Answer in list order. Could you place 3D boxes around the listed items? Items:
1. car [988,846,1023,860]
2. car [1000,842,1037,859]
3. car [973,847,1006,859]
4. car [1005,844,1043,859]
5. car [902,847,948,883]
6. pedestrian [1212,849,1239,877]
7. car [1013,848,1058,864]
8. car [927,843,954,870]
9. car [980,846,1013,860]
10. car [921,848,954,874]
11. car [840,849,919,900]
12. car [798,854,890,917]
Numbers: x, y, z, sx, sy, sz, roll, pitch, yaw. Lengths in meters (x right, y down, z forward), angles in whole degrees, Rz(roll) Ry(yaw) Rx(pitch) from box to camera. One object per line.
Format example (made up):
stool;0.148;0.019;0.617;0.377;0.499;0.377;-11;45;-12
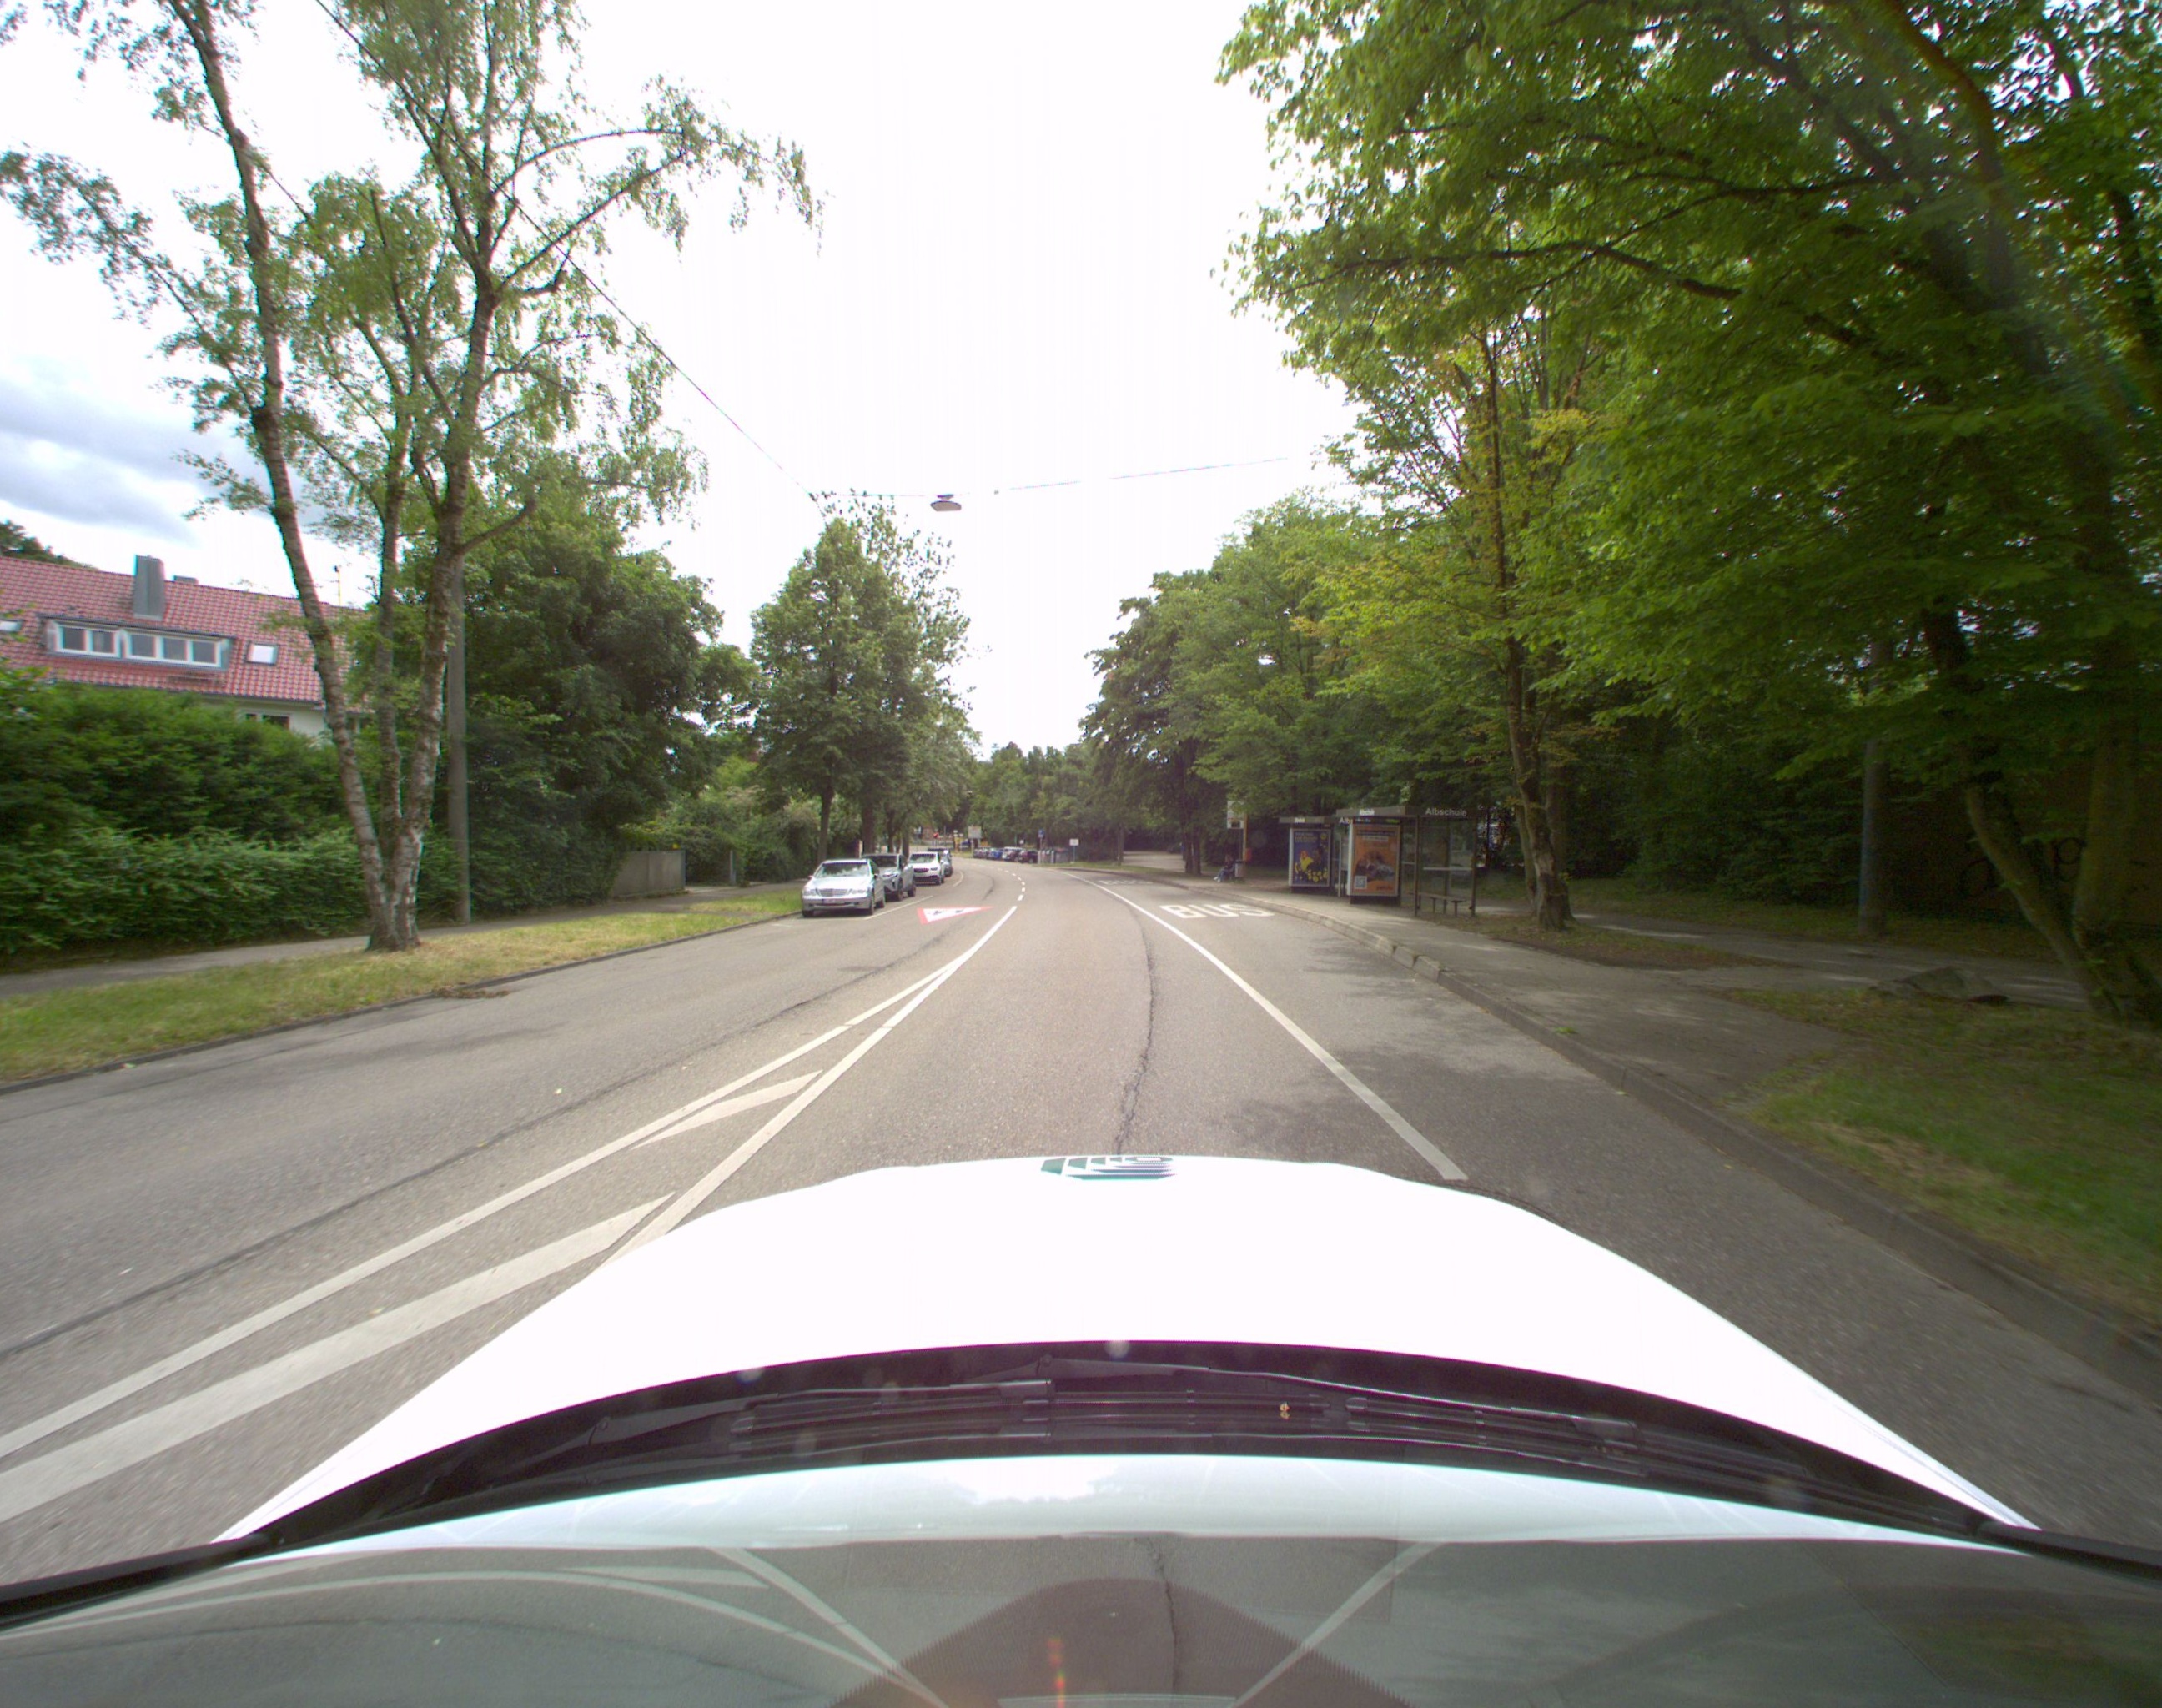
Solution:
car;-9.120;-0.075;98.879;3.847;1.528;1.727;3;-1;-36
car;-7.290;-0.404;94.481;3.847;1.720;1.858;3;-1;-36
car;-11.927;-0.137;106.434;3.902;1.426;1.810;3;-1;-36
car;-6.395;-0.268;91.708;3.847;1.468;1.728;3;0;-36
car;-7.515;0.482;39.461;1.733;1.578;4.134;-1;1;-5
pedestrian;6.305;0.400;35.562;1.063;1.182;0.578;-1;0;-8
car;-4.674;0.234;83.773;4.016;1.414;2.036;3;1;-36
car;-10.518;0.121;60.929;1.858;1.909;5.065;-1;1;-10
car;-10.718;-0.125;103.506;3.847;1.528;1.727;3;-1;-36
car;-8.960;0.386;50.963;1.865;1.538;4.215;-1;1;-8
car;-6.709;0.622;27.574;1.731;1.538;4.186;-1;1;-2
car;-6.247;0.761;21.940;1.734;1.416;4.460;-1;1;-8
